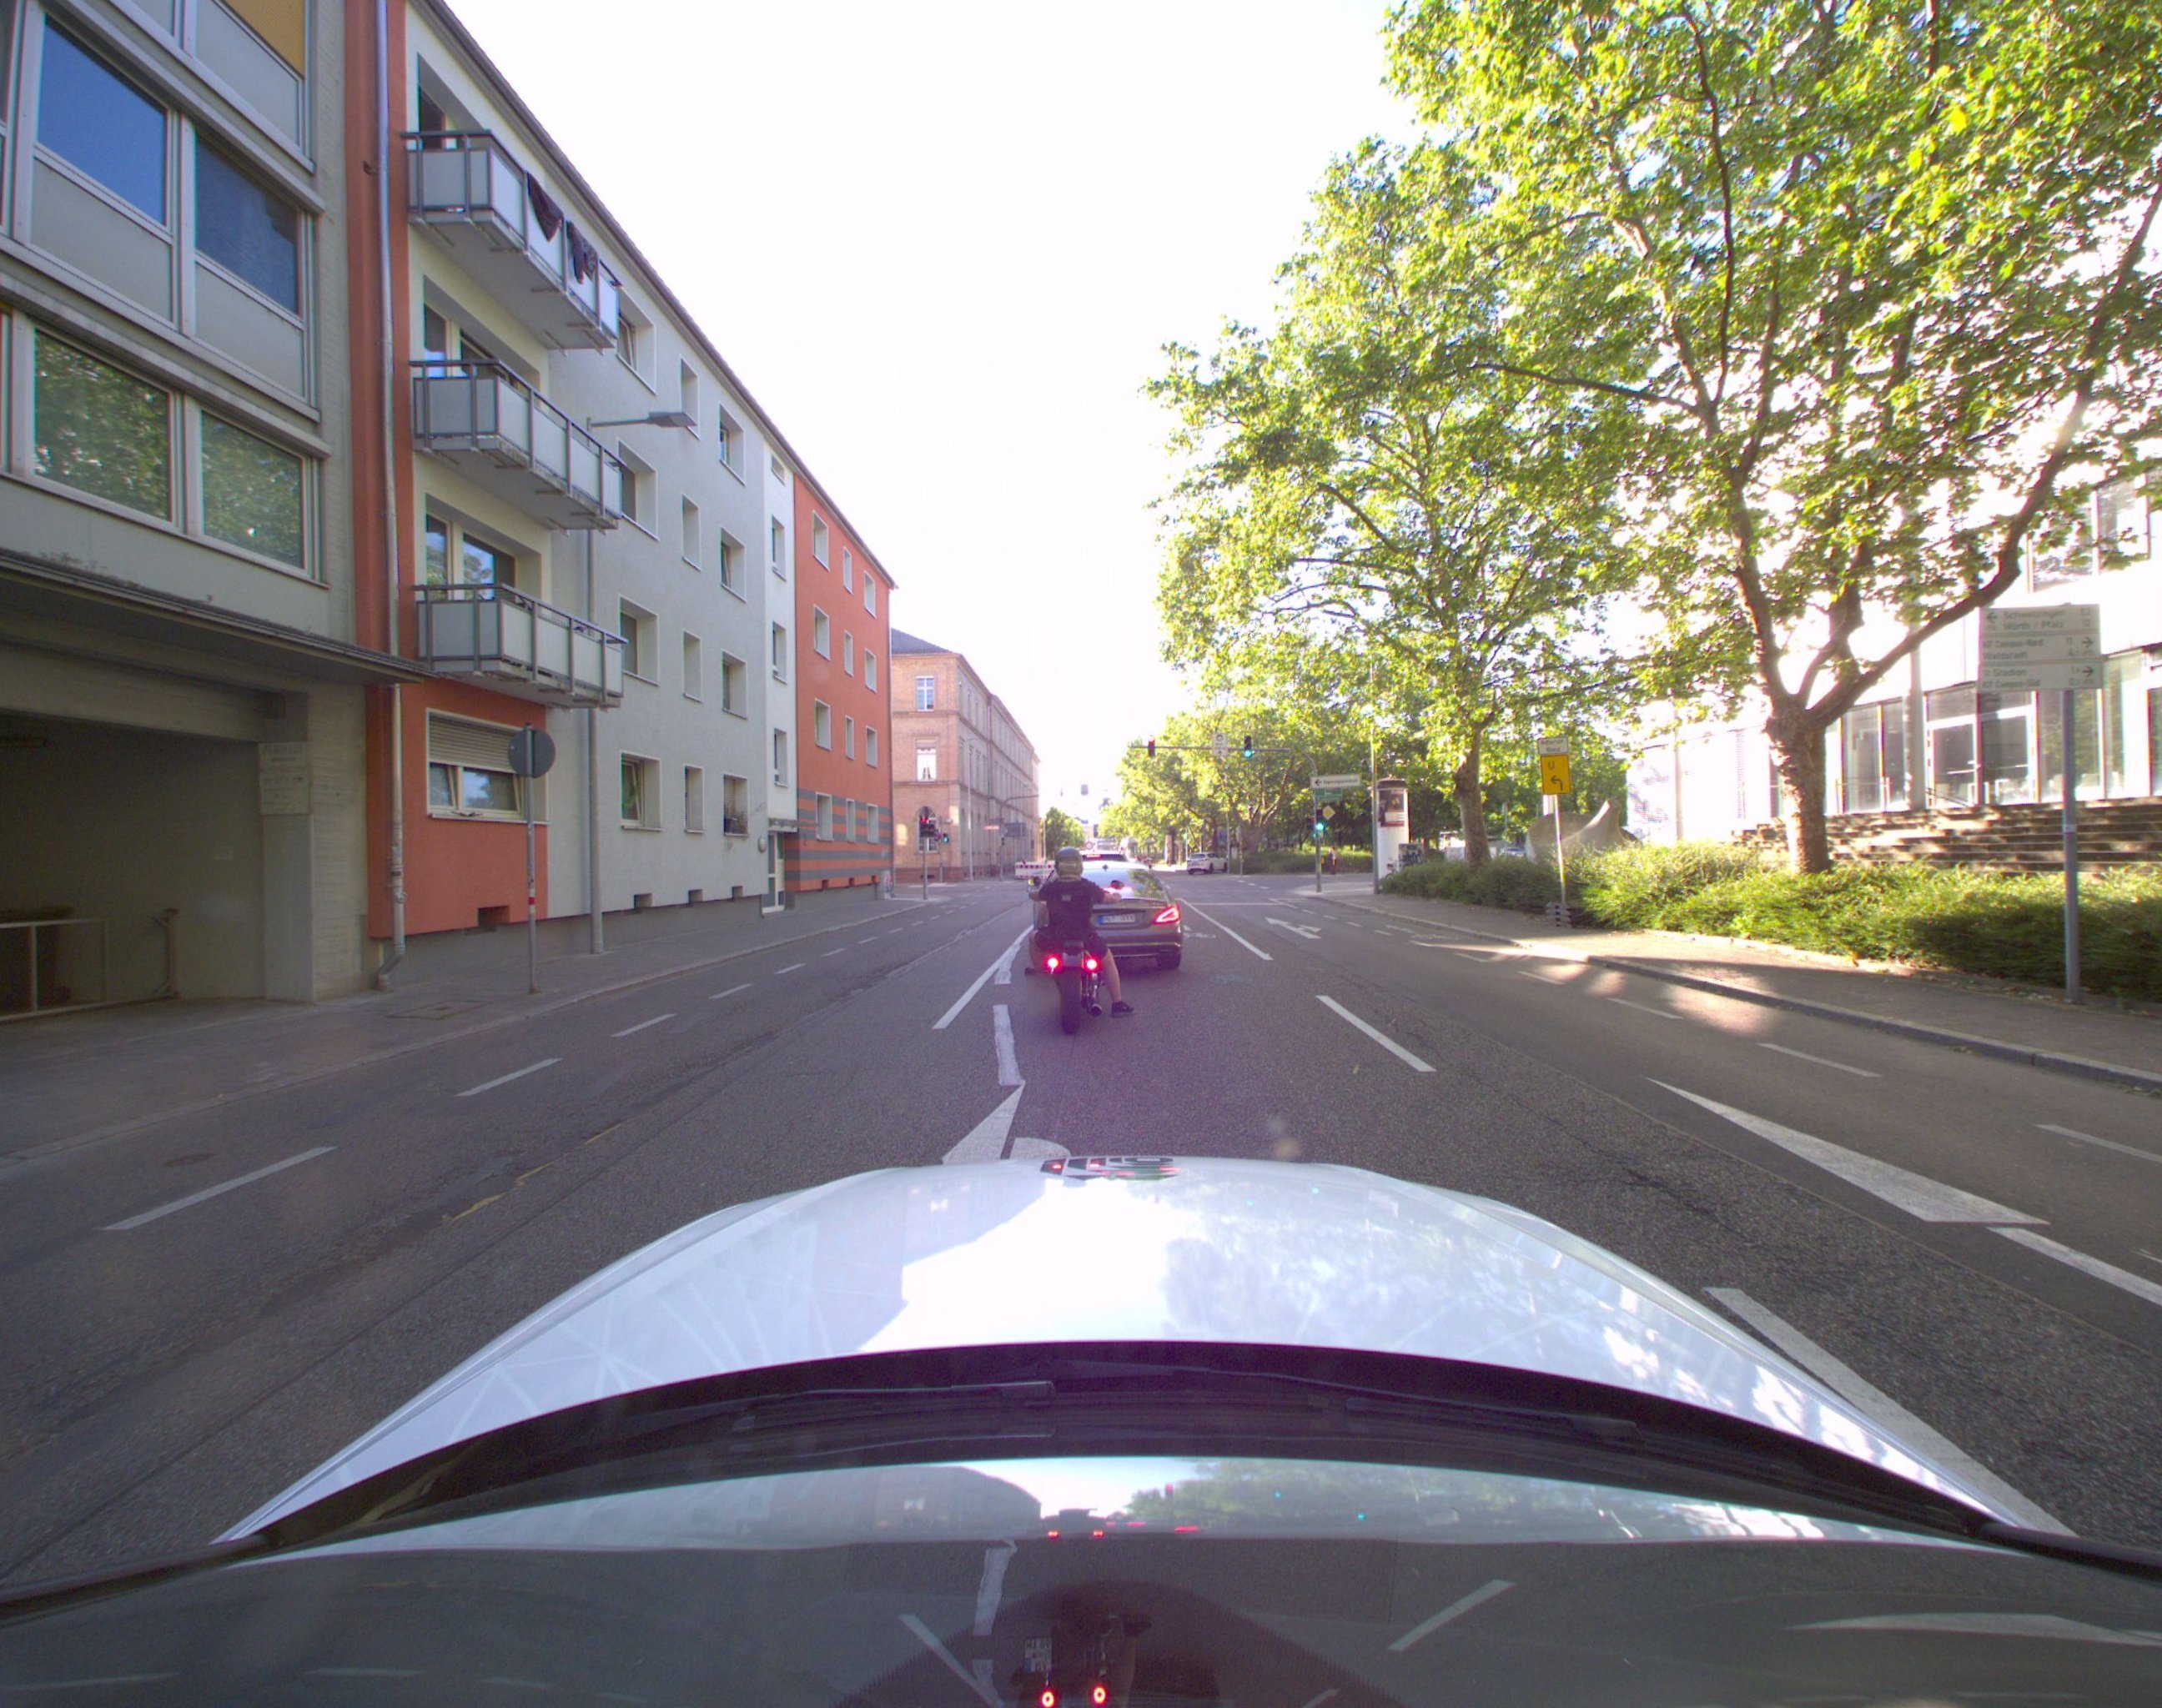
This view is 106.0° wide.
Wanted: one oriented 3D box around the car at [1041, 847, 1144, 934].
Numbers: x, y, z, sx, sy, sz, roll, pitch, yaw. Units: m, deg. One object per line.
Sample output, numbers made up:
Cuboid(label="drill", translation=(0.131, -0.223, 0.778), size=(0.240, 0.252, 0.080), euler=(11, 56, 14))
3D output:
Cuboid(label="car", translation=(0.284, 0.725, 17.674), size=(1.986, 1.665, 4.001), euler=(0, -1, 2))

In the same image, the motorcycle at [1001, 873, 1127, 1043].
Cuboid(label="motorcycle", translation=(-0.097, 0.857, 7.692), size=(0.977, 1.275, 2.408), euler=(-1, 0, 2))

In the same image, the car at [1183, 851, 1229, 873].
Cuboid(label="car", translation=(9.894, 0.613, 64.205), size=(1.924, 1.708, 4.511), euler=(0, 0, 32))

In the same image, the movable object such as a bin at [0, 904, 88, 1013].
Cuboid(label="movable object such as a bin", translation=(-11.294, 1.093, 8.649), size=(0.639, 1.065, 0.675), euler=(-1, 0, 1))

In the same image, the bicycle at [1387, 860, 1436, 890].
Cuboid(label="bicycle", translation=(11.074, 0.709, 27.325), size=(1.475, 0.980, 0.300), euler=(0, -1, 7))

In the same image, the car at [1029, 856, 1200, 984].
Cuboid(label="car", translation=(0.258, 0.772, 11.747), size=(1.867, 1.444, 4.421), euler=(-1, 0, -6))

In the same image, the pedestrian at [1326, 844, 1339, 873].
Cuboid(label="pedestrian", translation=(15.561, 0.304, 50.391), size=(0.671, 1.772, 0.621), euler=(-1, -1, 31))

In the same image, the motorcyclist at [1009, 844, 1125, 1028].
Cuboid(label="motorcyclist", translation=(-0.103, 0.709, 7.676), size=(0.977, 1.578, 1.249), euler=(-1, 0, 1))
